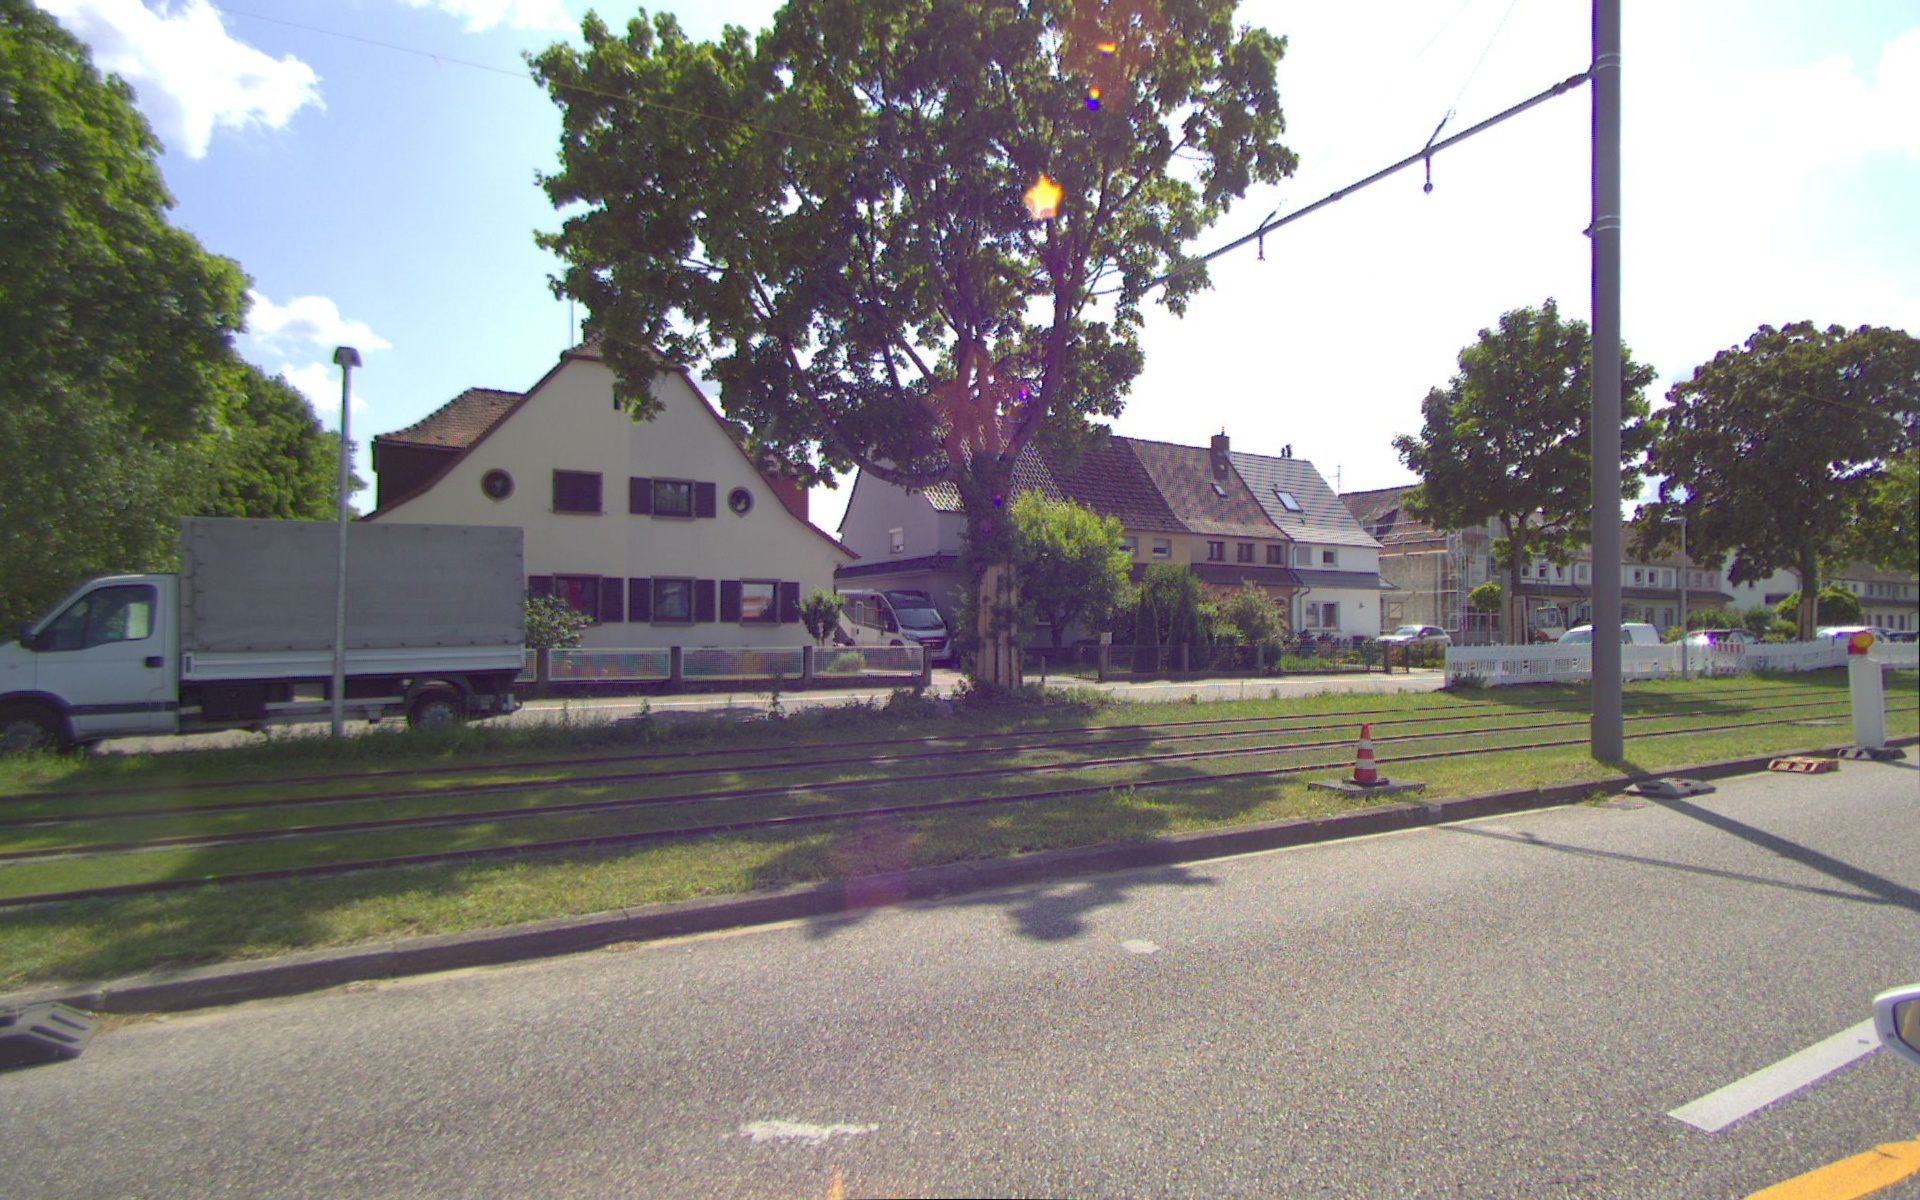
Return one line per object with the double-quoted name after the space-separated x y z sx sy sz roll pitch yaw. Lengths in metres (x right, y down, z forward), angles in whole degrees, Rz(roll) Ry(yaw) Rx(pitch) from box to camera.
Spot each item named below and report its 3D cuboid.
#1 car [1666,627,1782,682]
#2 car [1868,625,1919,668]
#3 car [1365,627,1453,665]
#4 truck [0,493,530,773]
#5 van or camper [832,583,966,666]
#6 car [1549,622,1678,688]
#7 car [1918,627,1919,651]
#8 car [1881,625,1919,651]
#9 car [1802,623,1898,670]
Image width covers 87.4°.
25.746 1.800 33.825 4.006 1.762 1.691 1 -2 -30 "car"
40.389 1.961 42.598 3.814 1.762 1.691 1 -2 -30 "car"
19.889 1.993 44.477 3.814 1.614 1.691 1 -2 -30 "car"
-8.798 0.414 12.932 5.805 3.027 1.994 1 -2 -30 "truck"
-2.350 0.907 36.648 2.224 2.745 5.963 1 -2 -33 "van or camper"
19.501 1.605 29.958 3.814 1.841 1.691 1 -2 -30 "car"
72.135 2.846 73.665 4.013 1.762 1.691 1 -2 -30 "car"
66.752 2.682 70.729 4.013 1.762 1.691 1 -2 -30 "car"
34.955 1.803 39.429 3.814 1.762 1.691 1 -2 -30 "car"
